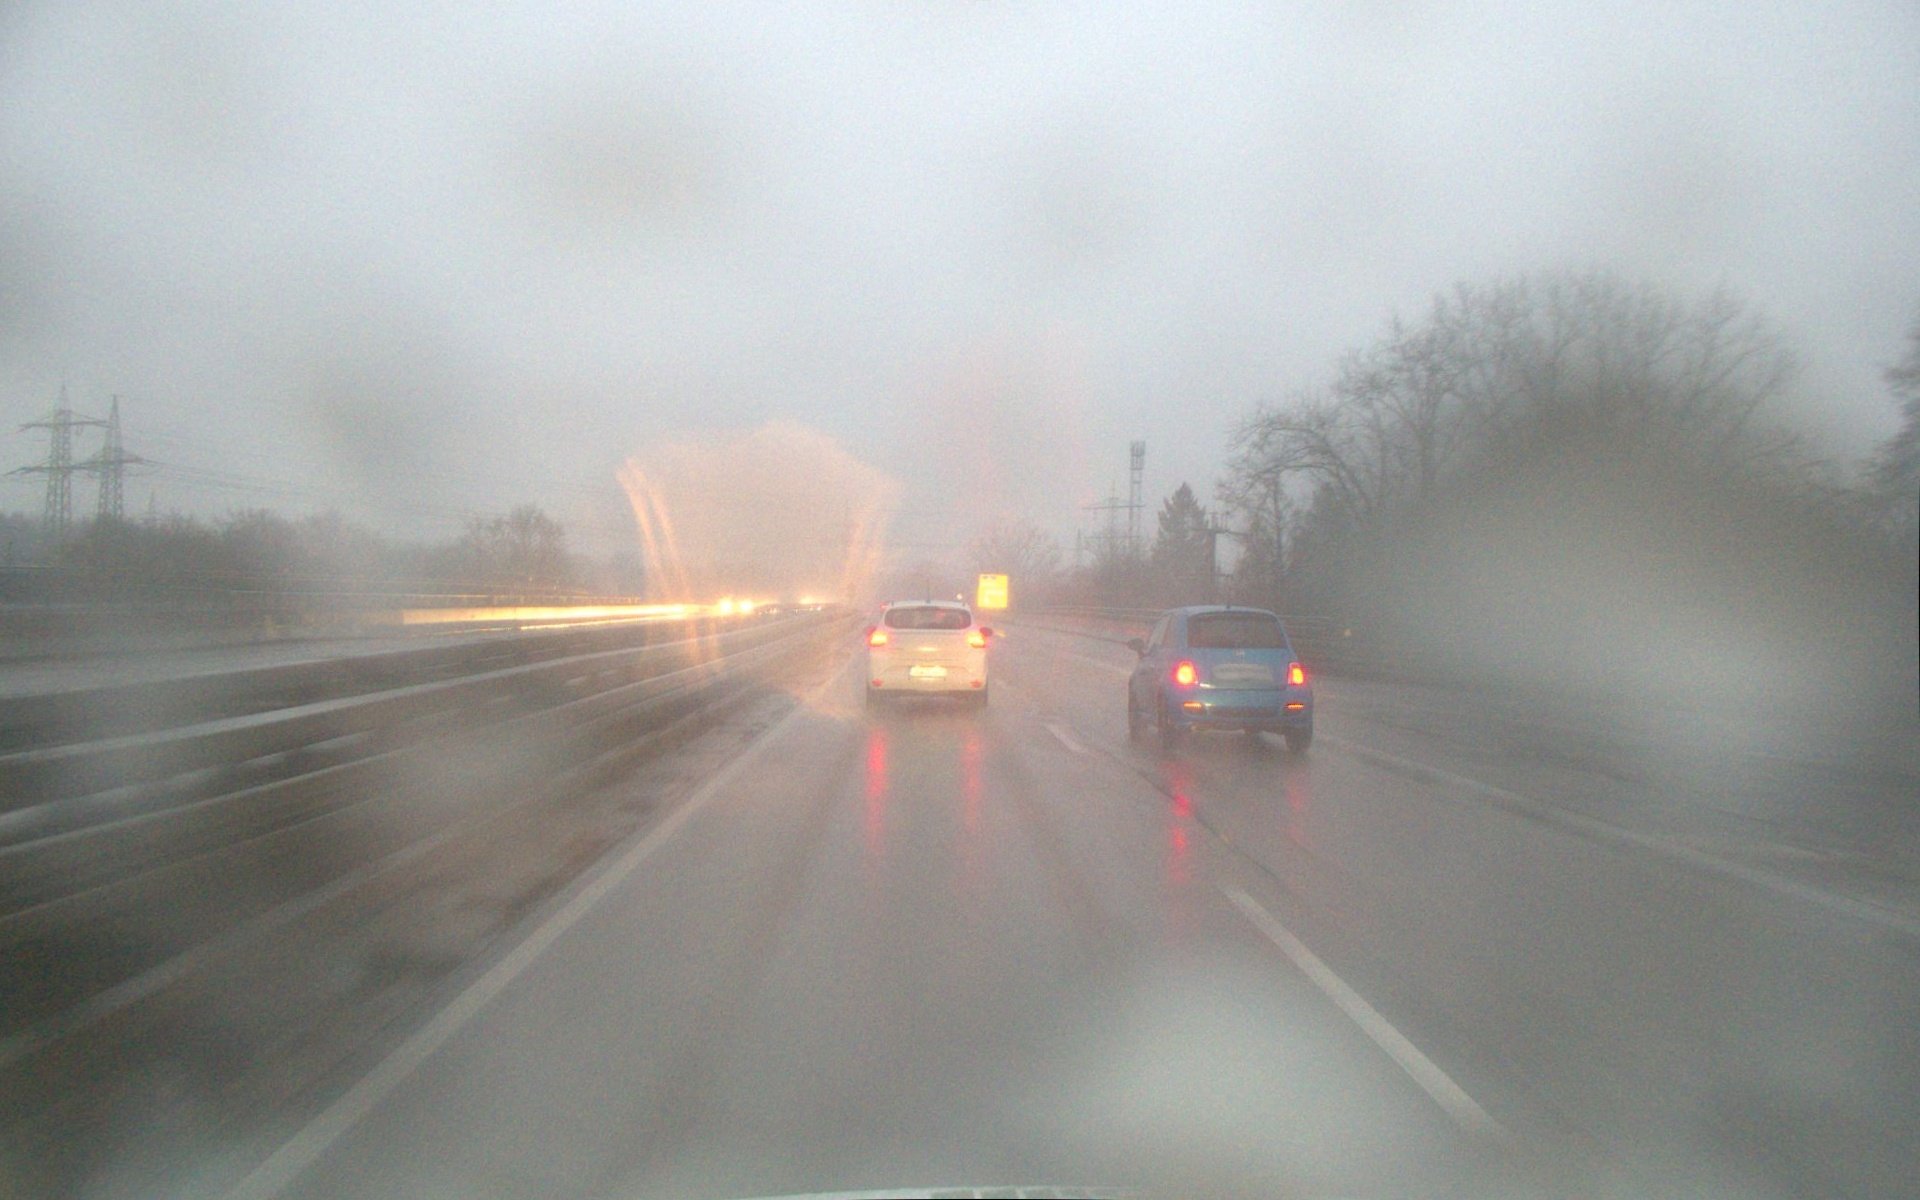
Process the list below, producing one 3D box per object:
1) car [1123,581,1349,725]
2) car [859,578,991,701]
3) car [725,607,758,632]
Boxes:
[{"bbox_3d":[3.101,0.531,19.420,1.808,1.479,4.147,1,1,-2],"label":"car"},{"bbox_3d":[-0.505,0.523,24.773,1.808,1.664,3.767,1,1,-1],"label":"car"},{"bbox_3d":[-14.410,1.275,109.344,1.818,1.593,3.920,1,1,-3],"label":"car"}]
